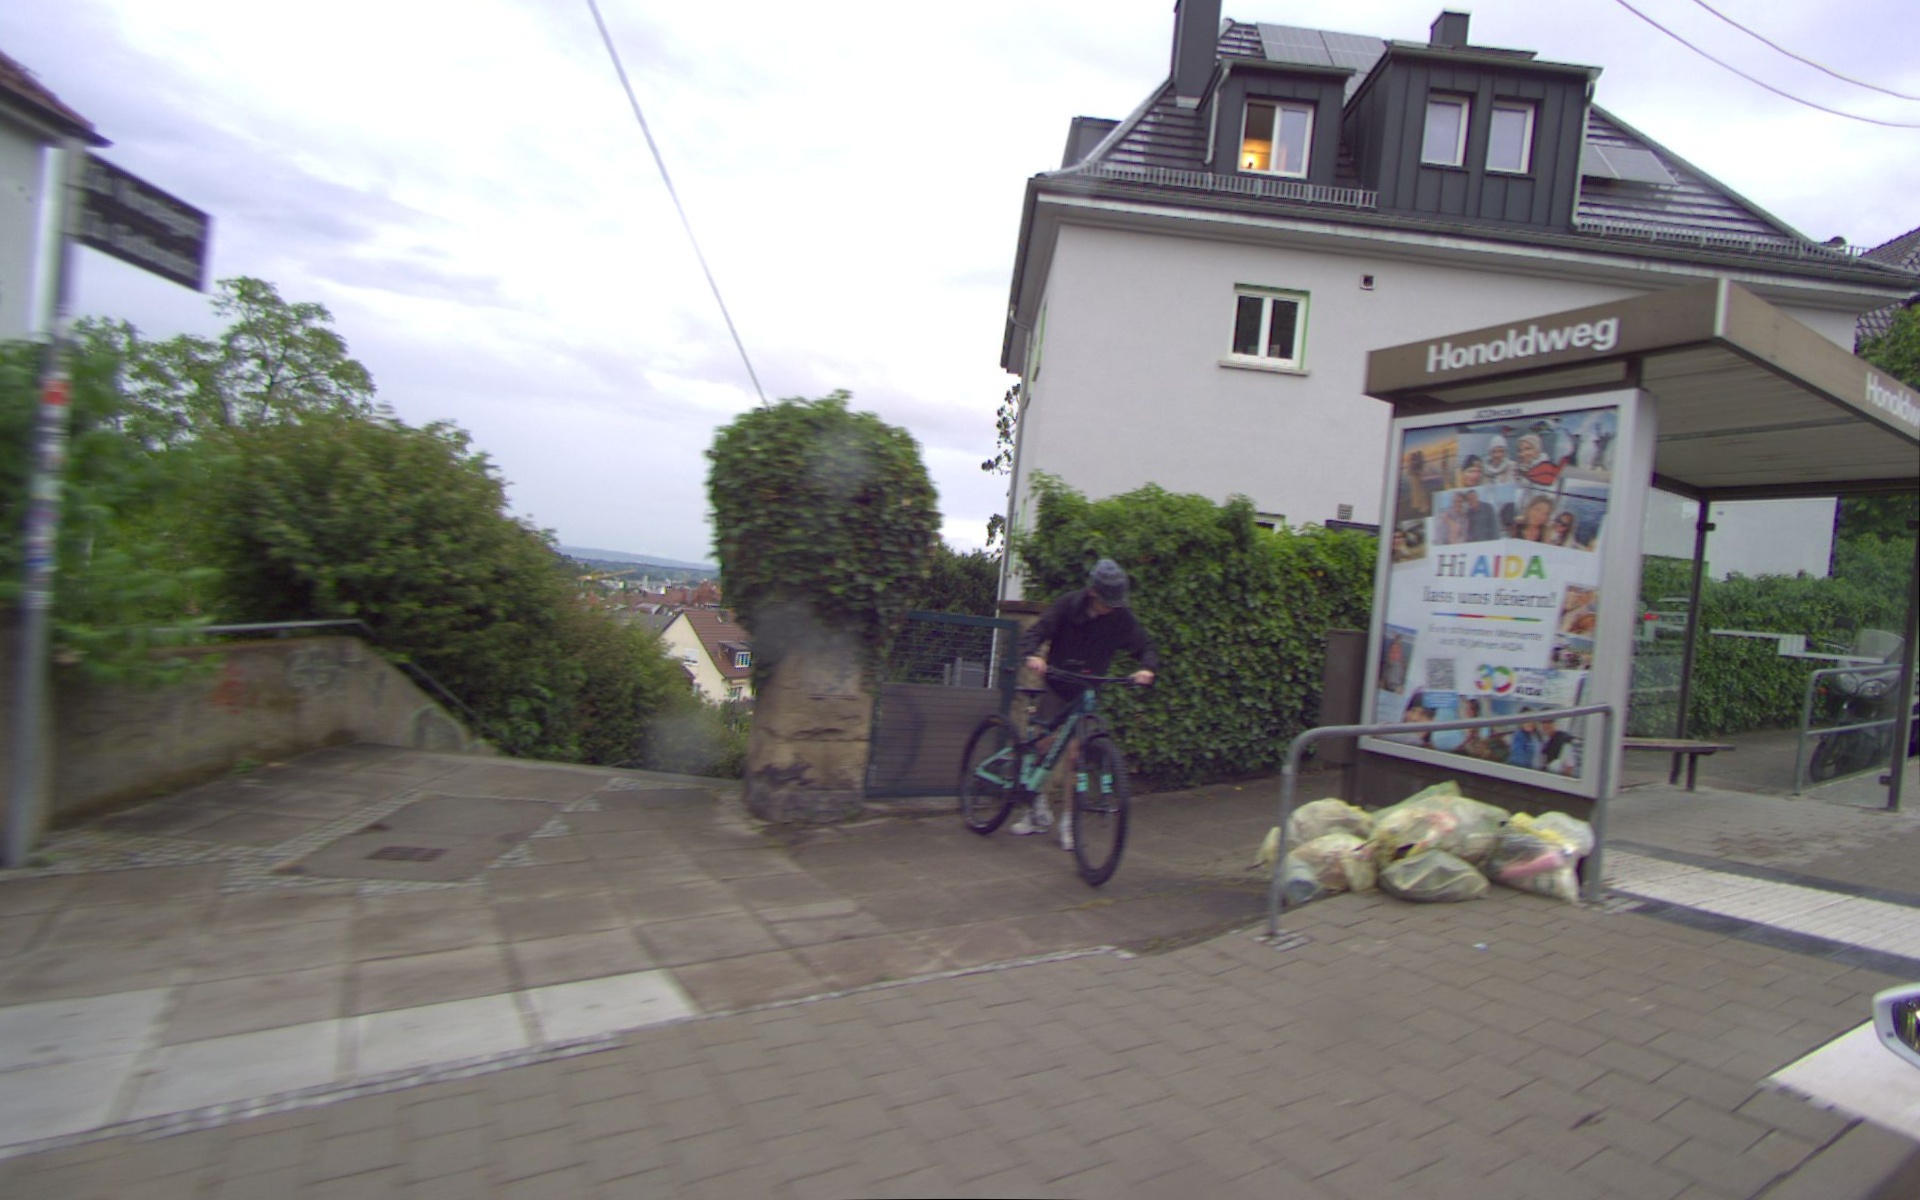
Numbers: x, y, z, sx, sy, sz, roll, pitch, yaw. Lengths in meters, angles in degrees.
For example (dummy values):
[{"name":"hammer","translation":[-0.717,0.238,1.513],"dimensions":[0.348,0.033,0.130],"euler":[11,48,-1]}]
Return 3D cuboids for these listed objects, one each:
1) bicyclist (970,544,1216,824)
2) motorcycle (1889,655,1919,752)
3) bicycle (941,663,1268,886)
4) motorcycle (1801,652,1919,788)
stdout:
[{"name":"bicyclist","translation":[0.747,0.454,5.843],"dimensions":[1.081,1.458,0.904],"euler":[2,0,-22]},{"name":"motorcycle","translation":[10.482,1.064,10.515],"dimensions":[1.989,0.946,0.662],"euler":[1,1,-34]},{"name":"bicycle","translation":[0.734,0.900,5.836],"dimensions":[1.081,0.944,1.867],"euler":[2,-1,-22]},{"name":"motorcycle","translation":[8.480,1.033,9.165],"dimensions":[2.130,1.050,0.662],"euler":[1,1,-34]}]
